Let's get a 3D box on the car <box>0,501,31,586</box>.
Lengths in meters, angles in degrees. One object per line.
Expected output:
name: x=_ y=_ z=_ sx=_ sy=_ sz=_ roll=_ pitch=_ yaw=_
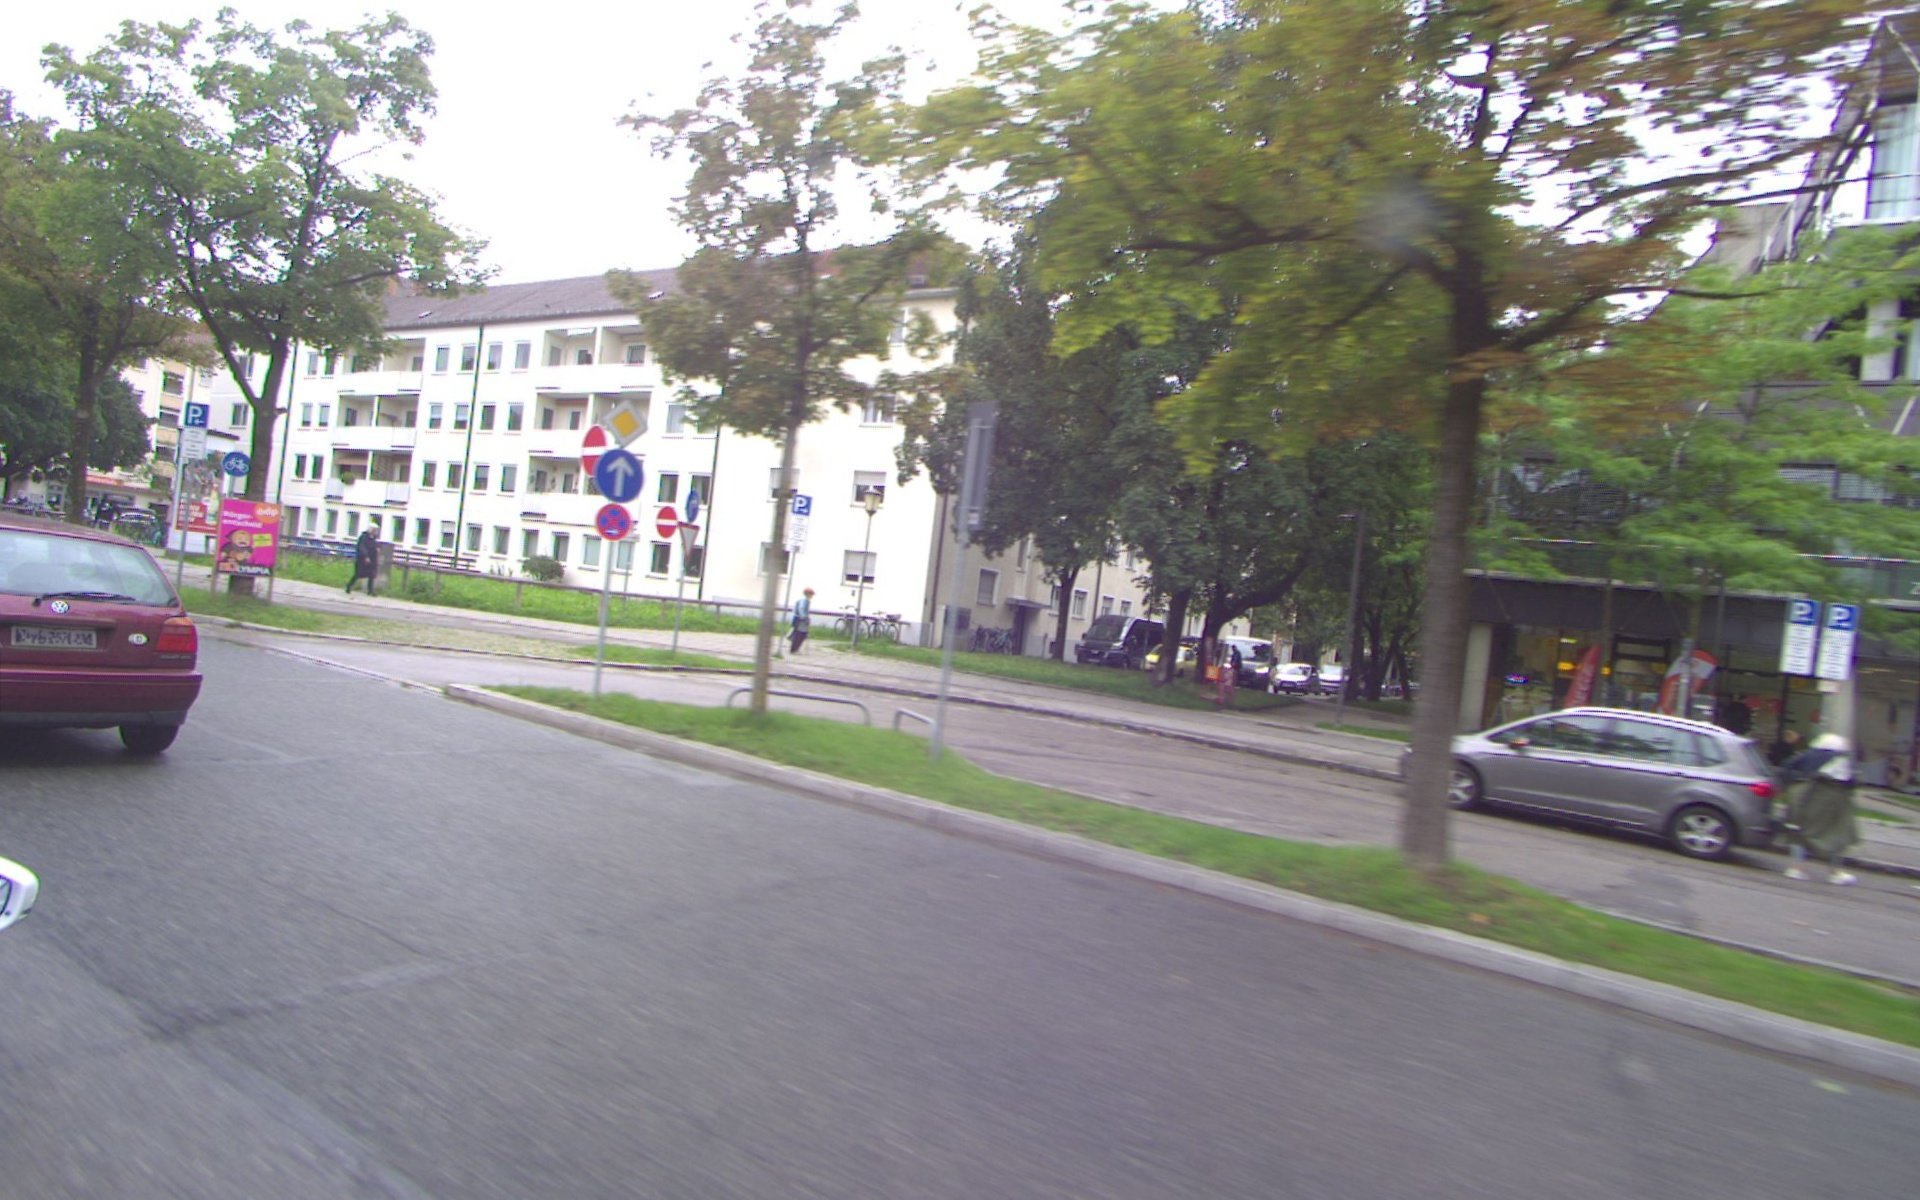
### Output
car: x=-19.091 y=-1.274 z=18.673 sx=4.048 sy=1.482 sz=1.685 roll=7 pitch=-2 yaw=33

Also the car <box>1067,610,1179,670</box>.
car: x=7.045 y=1.761 z=42.817 sx=2.307 sy=2.023 sz=6.097 roll=7 pitch=0 yaw=32

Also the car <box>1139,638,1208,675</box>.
car: x=8.615 y=2.306 z=40.452 sx=1.558 sy=1.216 sz=3.744 roll=8 pitch=0 yaw=29

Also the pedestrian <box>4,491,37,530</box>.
pedestrian: x=-44.539 y=-4.224 z=47.682 sx=0.821 sy=1.702 sz=0.839 roll=7 pitch=0 yaw=31

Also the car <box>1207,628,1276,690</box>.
car: x=11.645 y=2.378 z=41.256 sx=2.301 sy=2.078 sz=6.112 roll=7 pitch=0 yaw=18

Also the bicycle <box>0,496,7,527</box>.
bicycle: x=-37.918 y=-3.533 z=39.369 sx=1.853 sy=1.148 sz=0.431 roll=7 pitch=1 yaw=33

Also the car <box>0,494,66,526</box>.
car: x=-65.446 y=-6.369 z=70.006 sx=1.840 sy=1.681 sz=4.401 roll=7 pitch=0 yaw=29

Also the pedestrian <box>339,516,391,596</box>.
pedestrian: x=-13.999 y=-1.032 z=23.685 sx=0.590 sy=1.750 sz=0.641 roll=7 pitch=-1 yaw=22

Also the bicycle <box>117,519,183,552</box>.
bicycle: x=-30.980 y=-2.450 z=38.493 sx=0.425 sy=1.041 sz=1.880 roll=7 pitch=0 yaw=29

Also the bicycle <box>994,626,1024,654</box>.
bicycle: x=1.969 y=1.605 z=40.233 sx=0.448 sy=0.983 sz=1.695 roll=7 pitch=0 yaw=28

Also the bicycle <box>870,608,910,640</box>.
bicycle: x=-2.417 y=0.830 z=34.951 sx=0.448 sy=0.983 sz=1.695 roll=7 pitch=0 yaw=28

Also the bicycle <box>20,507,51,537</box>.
bicycle: x=-36.985 y=-3.127 z=40.236 sx=1.853 sy=1.041 sz=0.431 roll=7 pitch=1 yaw=33

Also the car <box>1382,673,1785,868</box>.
car: x=8.048 y=2.087 z=13.319 sx=4.131 sy=1.654 sz=1.823 roll=7 pitch=0 yaw=35

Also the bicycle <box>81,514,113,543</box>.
bicycle: x=-35.727 y=-2.968 z=41.645 sx=1.853 sy=1.041 sz=0.431 roll=7 pitch=1 yaw=33

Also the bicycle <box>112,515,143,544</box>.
bicycle: x=-35.189 y=-2.980 z=42.529 sx=1.853 sy=1.041 sz=0.431 roll=7 pitch=1 yaw=33

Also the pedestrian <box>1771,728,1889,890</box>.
pedestrian: x=9.712 y=2.304 z=11.234 sx=0.654 sy=1.613 sz=0.746 roll=6 pitch=1 yaw=-39

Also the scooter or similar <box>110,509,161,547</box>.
scooter or similar: x=-30.622 y=-2.675 z=37.373 sx=1.367 sy=1.215 sz=0.358 roll=6 pitch=1 yaw=-10

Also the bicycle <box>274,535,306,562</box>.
bicycle: x=-30.443 y=-2.340 z=45.712 sx=1.853 sy=1.041 sz=0.431 roll=7 pitch=1 yaw=33

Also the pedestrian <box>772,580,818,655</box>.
pedestrian: x=-3.733 y=0.405 z=22.845 sx=0.767 sy=1.593 sz=0.580 roll=7 pitch=-1 yaw=-1

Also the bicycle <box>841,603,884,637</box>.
bicycle: x=-3.226 y=0.671 z=33.364 sx=0.448 sy=0.983 sz=1.695 roll=7 pitch=0 yaw=28

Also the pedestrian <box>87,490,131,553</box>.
pedestrian: x=-25.705 y=-2.371 z=30.375 sx=0.834 sy=1.772 sz=0.640 roll=7 pitch=2 yaw=27

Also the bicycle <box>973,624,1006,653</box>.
bicycle: x=1.144 y=1.495 z=38.662 sx=0.448 sy=0.983 sz=1.695 roll=7 pitch=0 yaw=28

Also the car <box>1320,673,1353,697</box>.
car: x=21.807 y=4.909 z=58.191 sx=1.565 sy=1.028 sz=3.749 roll=8 pitch=0 yaw=22

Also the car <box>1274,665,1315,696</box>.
car: x=16.349 y=3.898 z=49.091 sx=1.556 sy=1.216 sz=3.749 roll=8 pitch=0 yaw=22

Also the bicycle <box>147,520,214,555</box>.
bicycle: x=-28.910 y=-2.307 z=37.323 sx=0.425 sy=1.041 sz=1.880 roll=7 pitch=0 yaw=29

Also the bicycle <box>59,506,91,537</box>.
bicycle: x=-36.152 y=-3.214 z=41.096 sx=1.853 sy=1.115 sz=0.431 roll=7 pitch=1 yaw=33

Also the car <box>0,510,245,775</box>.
car: x=-6.589 y=0.073 z=6.541 sx=3.854 sy=1.399 sz=1.686 roll=7 pitch=-2 yaw=32

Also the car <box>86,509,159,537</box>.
car: x=-60.705 y=-5.590 z=72.986 sx=1.839 sy=1.434 sz=3.556 roll=7 pitch=-1 yaw=28
